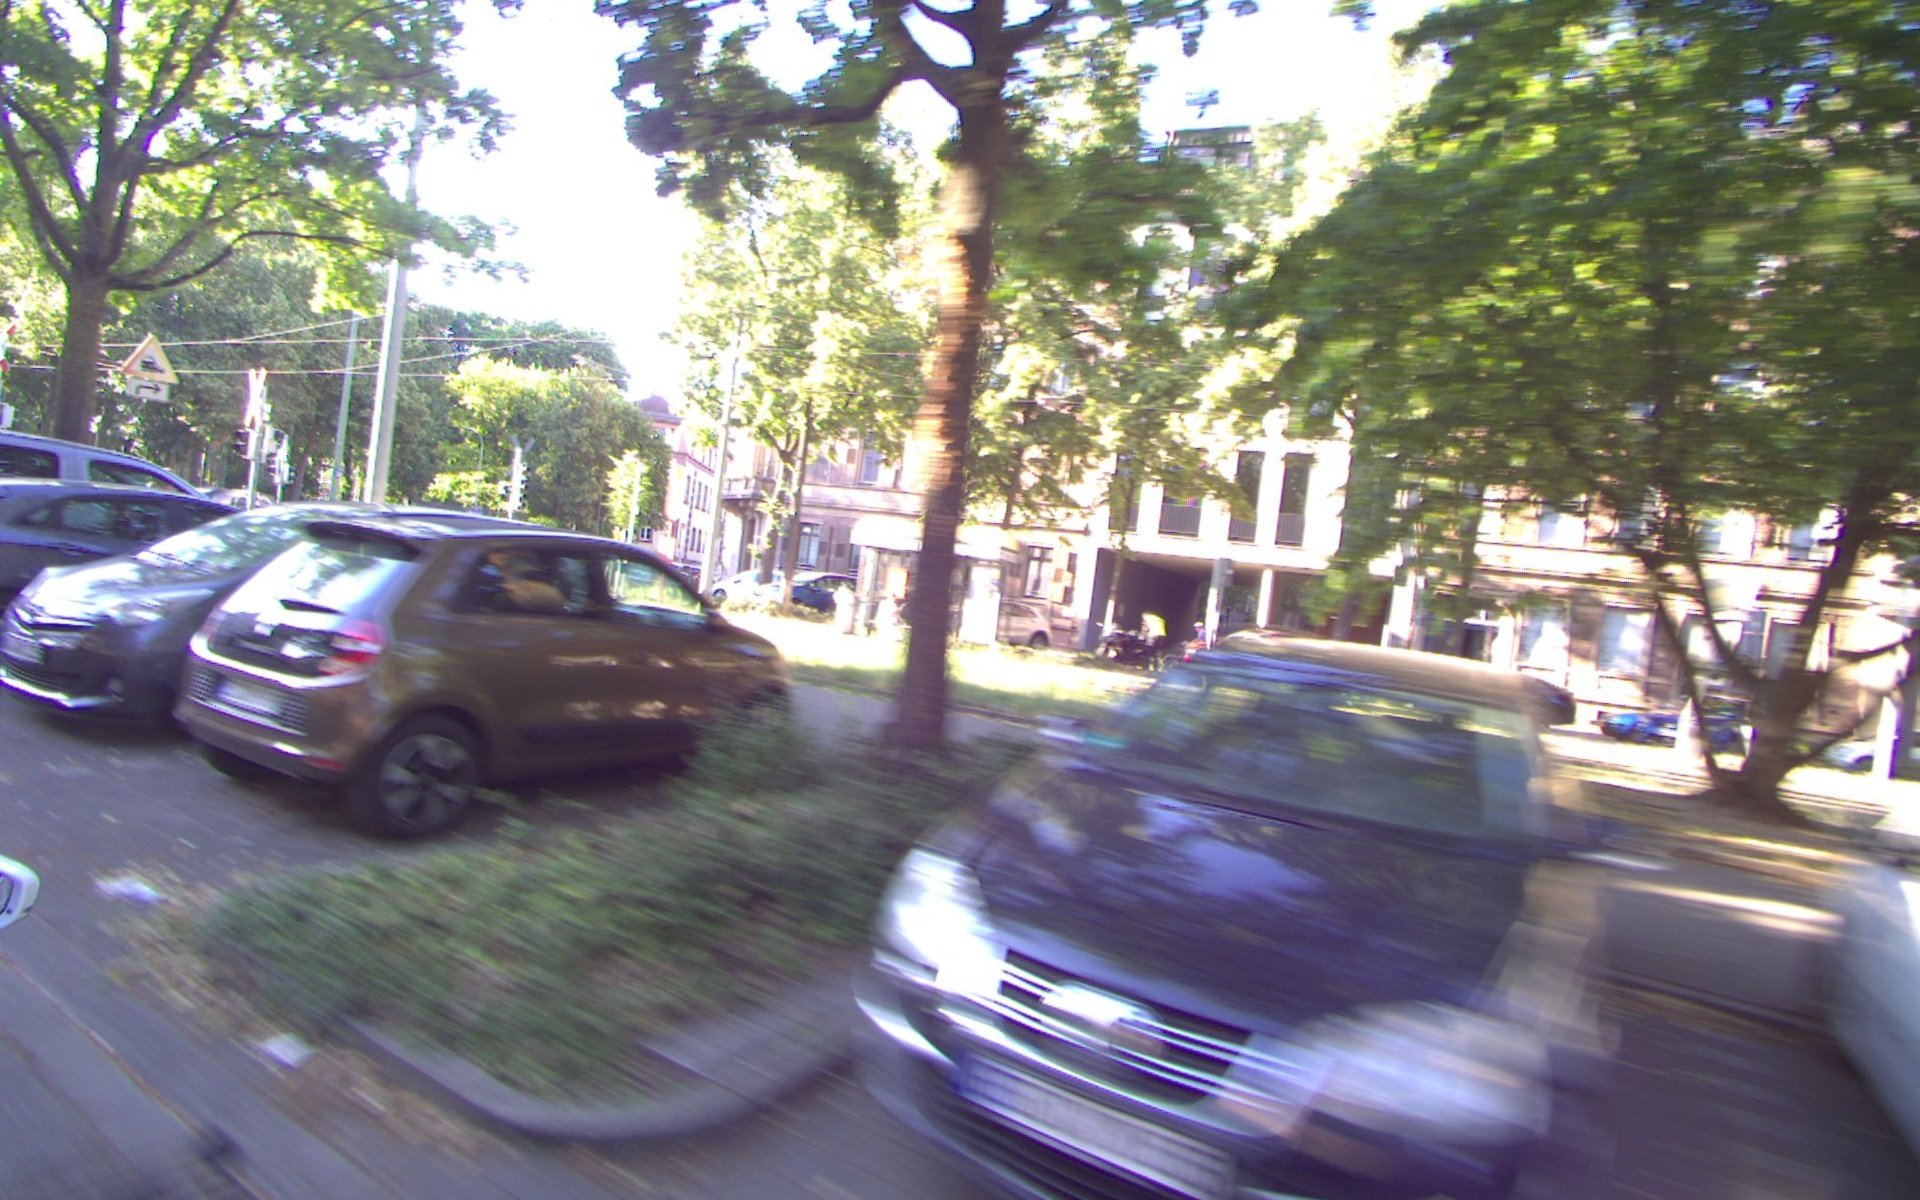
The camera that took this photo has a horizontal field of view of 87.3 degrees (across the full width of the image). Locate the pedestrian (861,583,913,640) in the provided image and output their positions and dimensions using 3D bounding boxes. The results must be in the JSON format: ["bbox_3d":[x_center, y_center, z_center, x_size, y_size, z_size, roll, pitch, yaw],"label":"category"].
[{"bbox_3d":[-1.813,0.298,25.090,0.861,1.288,0.824,7,1,24],"label":"pedestrian"}]

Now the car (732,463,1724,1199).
[{"bbox_3d":[1.574,0.693,4.076,1.968,1.591,4.704,6,-1,34],"label":"car"}]

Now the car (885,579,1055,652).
[{"bbox_3d":[0.332,0.456,28.484,4.513,1.506,1.909,7,1,-37],"label":"car"}]

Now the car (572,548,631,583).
[{"bbox_3d":[-21.201,-2.015,59.680,1.800,1.633,4.289,10,0,-2],"label":"car"}]

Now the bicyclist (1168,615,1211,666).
[{"bbox_3d":[6.812,1.209,29.847,0.961,1.371,0.778,8,1,21],"label":"bicyclist"}]

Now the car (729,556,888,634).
[{"bbox_3d":[-4.563,-0.116,30.704,4.388,1.707,1.722,9,-1,-40],"label":"car"}]

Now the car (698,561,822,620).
[{"bbox_3d":[-7.975,-0.391,40.098,4.417,1.668,1.876,7,-2,24],"label":"car"}]

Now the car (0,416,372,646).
[{"bbox_3d":[-8.924,-0.690,10.275,1.919,1.938,4.541,6,-1,34],"label":"car"}]

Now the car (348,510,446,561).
[{"bbox_3d":[-29.271,-3.343,52.287,4.575,2.028,1.949,7,0,24],"label":"car"}]

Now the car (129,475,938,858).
[{"bbox_3d":[-2.291,0.384,6.674,1.919,1.591,4.542,6,-1,34],"label":"car"}]

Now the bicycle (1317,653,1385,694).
[{"bbox_3d":[13.645,2.561,35.165,0.677,1.130,2.074,7,1,-39],"label":"bicycle"}]

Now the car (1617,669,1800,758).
[{"bbox_3d":[16.406,2.500,22.000,4.240,1.506,1.792,7,1,-34],"label":"car"}]

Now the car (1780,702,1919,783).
[{"bbox_3d":[24.603,3.850,26.405,4.163,1.587,1.999,7,1,19],"label":"car"}]

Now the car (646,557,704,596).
[{"bbox_3d":[-15.675,-1.267,55.550,1.800,1.743,4.541,10,0,-2],"label":"car"}]

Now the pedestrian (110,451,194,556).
[{"bbox_3d":[-16.534,-1.970,20.589,1.131,1.943,0.903,8,1,32],"label":"pedestrian"}]

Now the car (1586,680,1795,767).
[{"bbox_3d":[20.182,3.375,28.040,4.163,1.587,1.999,7,1,19],"label":"car"}]

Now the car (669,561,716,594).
[{"bbox_3d":[-16.077,-1.302,60.675,1.772,1.633,3.951,10,0,-4],"label":"car"}]

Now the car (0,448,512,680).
[{"bbox_3d":[-6.676,-0.230,8.901,1.919,1.591,4.542,6,-1,34],"label":"car"}]

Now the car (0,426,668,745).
[{"bbox_3d":[-4.648,-0.021,7.880,1.916,1.712,4.446,6,-1,26],"label":"car"}]

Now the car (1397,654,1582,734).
[{"bbox_3d":[15.466,2.710,29.720,4.509,1.587,1.998,7,1,23],"label":"car"}]

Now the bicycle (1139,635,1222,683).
[{"bbox_3d":[6.561,1.733,29.907,2.214,1.099,0.778,8,1,21],"label":"bicycle"}]

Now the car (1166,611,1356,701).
[{"bbox_3d":[7.756,1.453,25.845,4.499,1.743,1.915,7,1,-28],"label":"car"}]

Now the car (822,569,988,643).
[{"bbox_3d":[-1.588,0.198,29.961,4.513,1.655,1.909,7,1,-37],"label":"car"}]

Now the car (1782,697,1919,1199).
[{"bbox_3d":[3.614,1.168,2.685,1.691,1.533,3.401,8,0,34],"label":"car"}]

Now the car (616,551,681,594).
[{"bbox_3d":[-15.504,-1.323,50.329,1.889,1.676,4.185,10,-1,-3],"label":"car"}]
